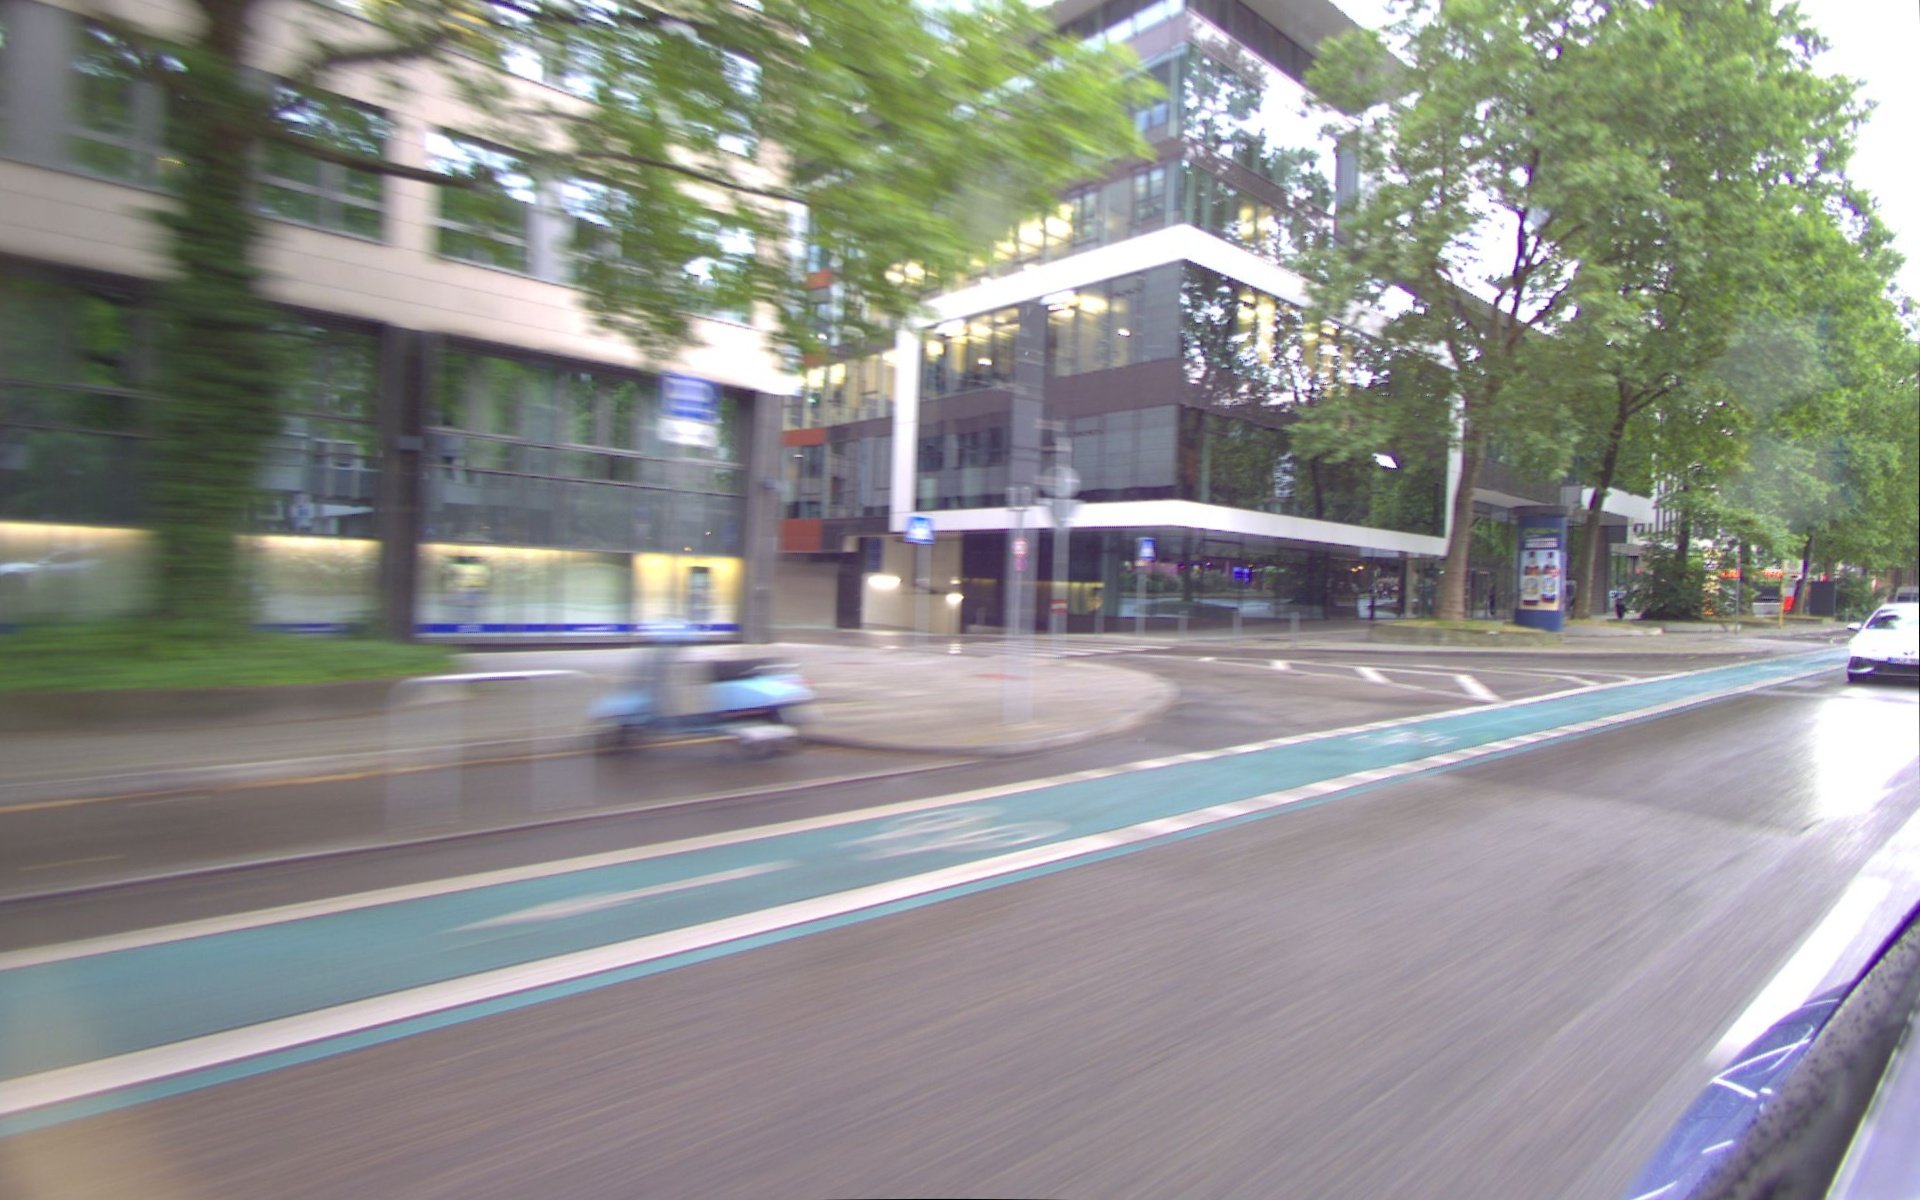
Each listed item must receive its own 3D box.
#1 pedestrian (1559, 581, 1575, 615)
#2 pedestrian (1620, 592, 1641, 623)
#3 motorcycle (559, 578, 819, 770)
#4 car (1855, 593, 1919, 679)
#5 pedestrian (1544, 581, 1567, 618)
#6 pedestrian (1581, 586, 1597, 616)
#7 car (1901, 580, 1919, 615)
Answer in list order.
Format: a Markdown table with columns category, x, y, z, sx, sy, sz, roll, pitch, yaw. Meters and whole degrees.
| category | x | y | z | sx | sy | sz | roll | pitch | yaw |
| --- | --- | --- | --- | --- | --- | --- | --- | --- | --- |
| pedestrian | 34.577 | -0.137 | 57.615 | 0.692 | 1.881 | 0.523 | -1 | 4 | -41 |
| pedestrian | 33.836 | 0.363 | 51.074 | 0.987 | 1.524 | 0.588 | 1 | 1 | -40 |
| motorcycle | -2.174 | 0.574 | 8.259 | 1.908 | 1.383 | 0.685 | 3 | 4 | 0 |
| car | 18.075 | 0.623 | 18.713 | 3.726 | 1.490 | 1.794 | 0 | 0 | -40 |
| pedestrian | 30.176 | -0.032 | 51.255 | 0.785 | 1.815 | 1.073 | 4 | 3 | 36 |
| pedestrian | 35.315 | 0.050 | 56.809 | 0.707 | 1.645 | 0.527 | -1 | 4 | -41 |
| car | 75.118 | -0.178 | 76.229 | 2.275 | 2.713 | 6.292 | 0 | 1 | -5 |
